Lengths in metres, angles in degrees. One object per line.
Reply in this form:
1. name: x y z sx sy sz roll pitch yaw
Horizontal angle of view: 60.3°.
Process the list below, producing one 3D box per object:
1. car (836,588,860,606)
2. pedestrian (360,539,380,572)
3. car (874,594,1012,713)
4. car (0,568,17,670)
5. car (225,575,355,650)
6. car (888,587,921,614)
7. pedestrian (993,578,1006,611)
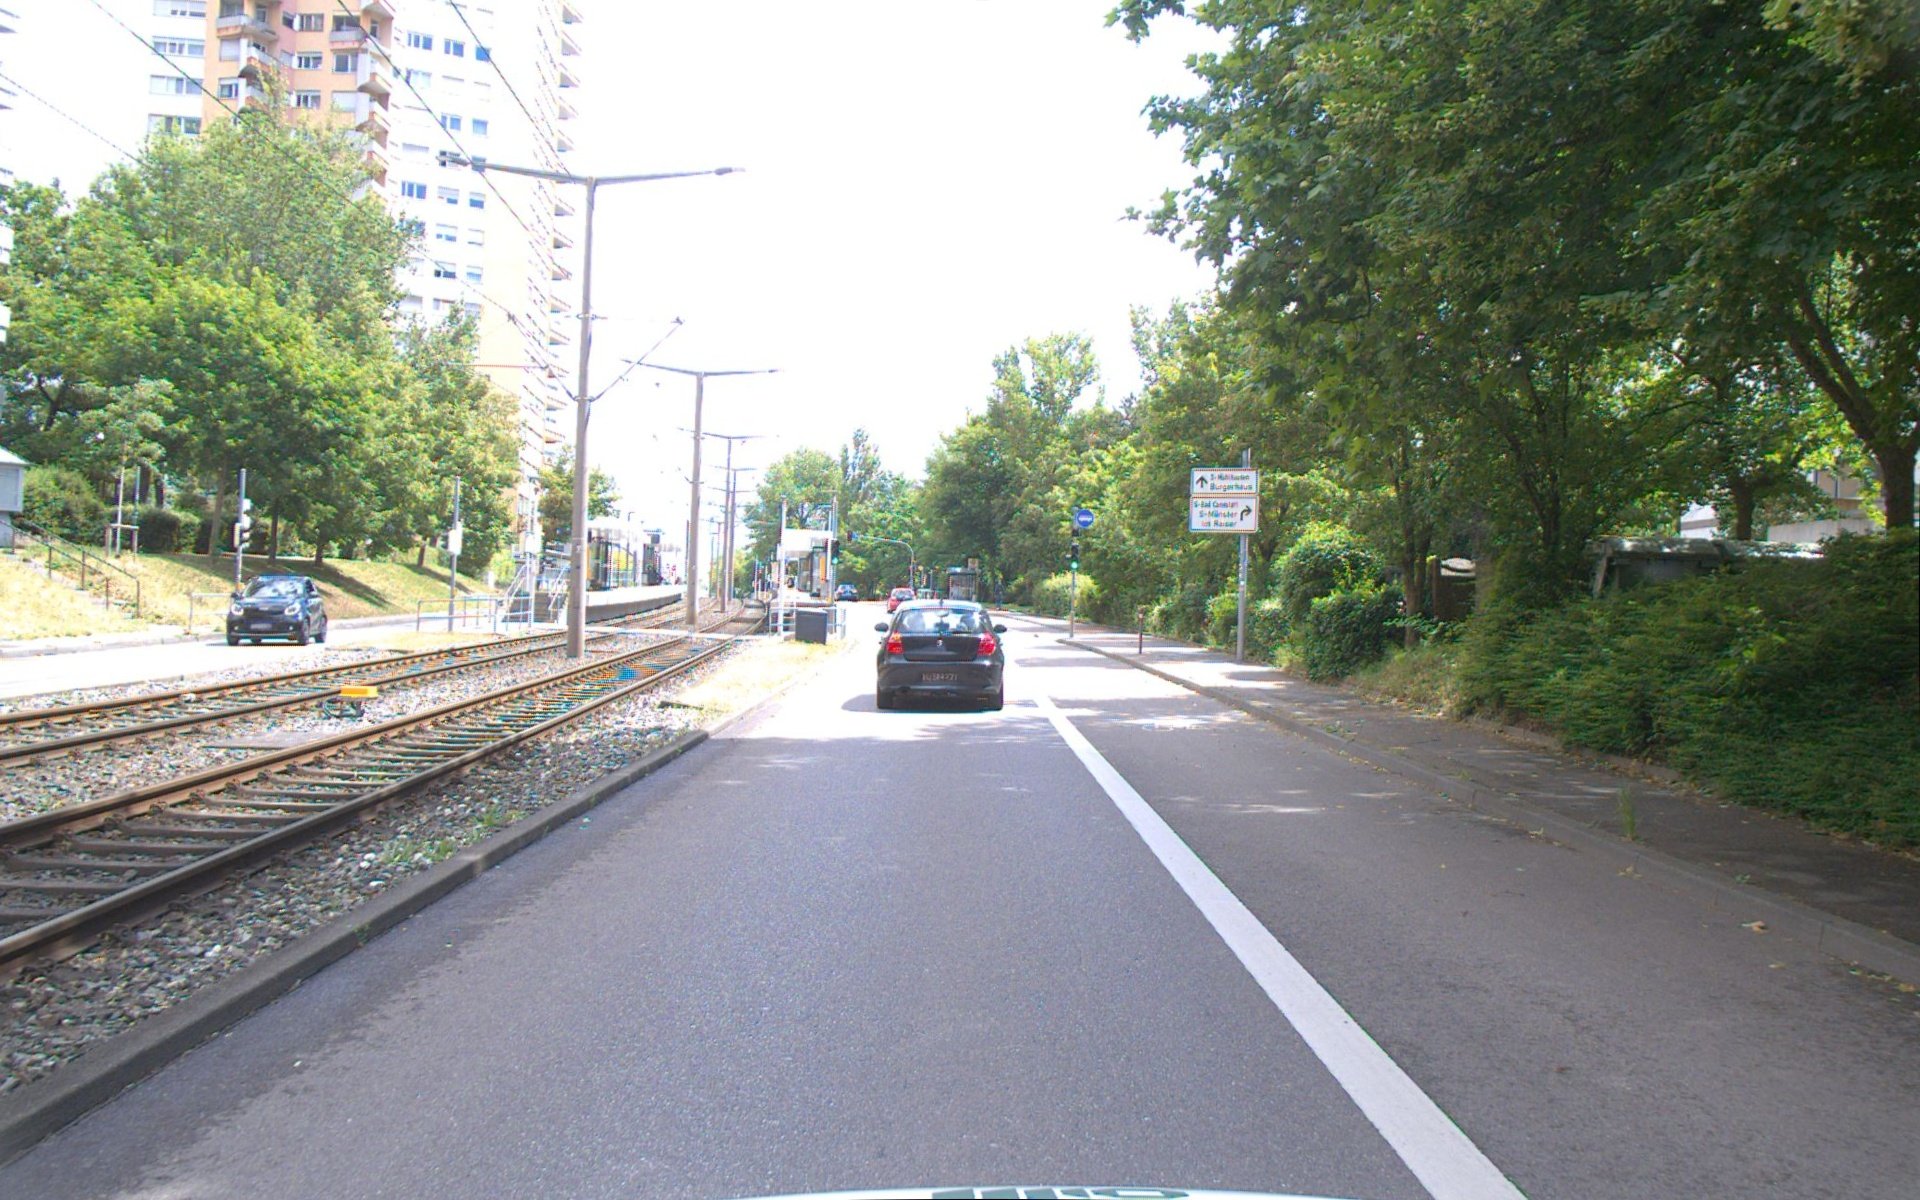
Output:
1. car: -9.795 -0.263 144.226 1.873 1.485 3.996 1 0 -7
2. pedestrian: -27.946 -2.097 78.323 0.620 1.561 0.635 1 0 16
3. car: -0.311 0.670 22.905 1.746 1.485 3.918 0 0 -3
4. car: -15.268 0.299 23.461 1.747 1.559 4.238 0 0 -7
5. car: -15.116 0.257 37.489 1.682 1.591 3.693 1 0 -5
6. car: -3.286 0.012 97.610 1.746 1.485 3.917 1 0 -5
7. pedestrian: 2.471 -0.317 103.366 0.725 2.049 0.681 1 0 -1
